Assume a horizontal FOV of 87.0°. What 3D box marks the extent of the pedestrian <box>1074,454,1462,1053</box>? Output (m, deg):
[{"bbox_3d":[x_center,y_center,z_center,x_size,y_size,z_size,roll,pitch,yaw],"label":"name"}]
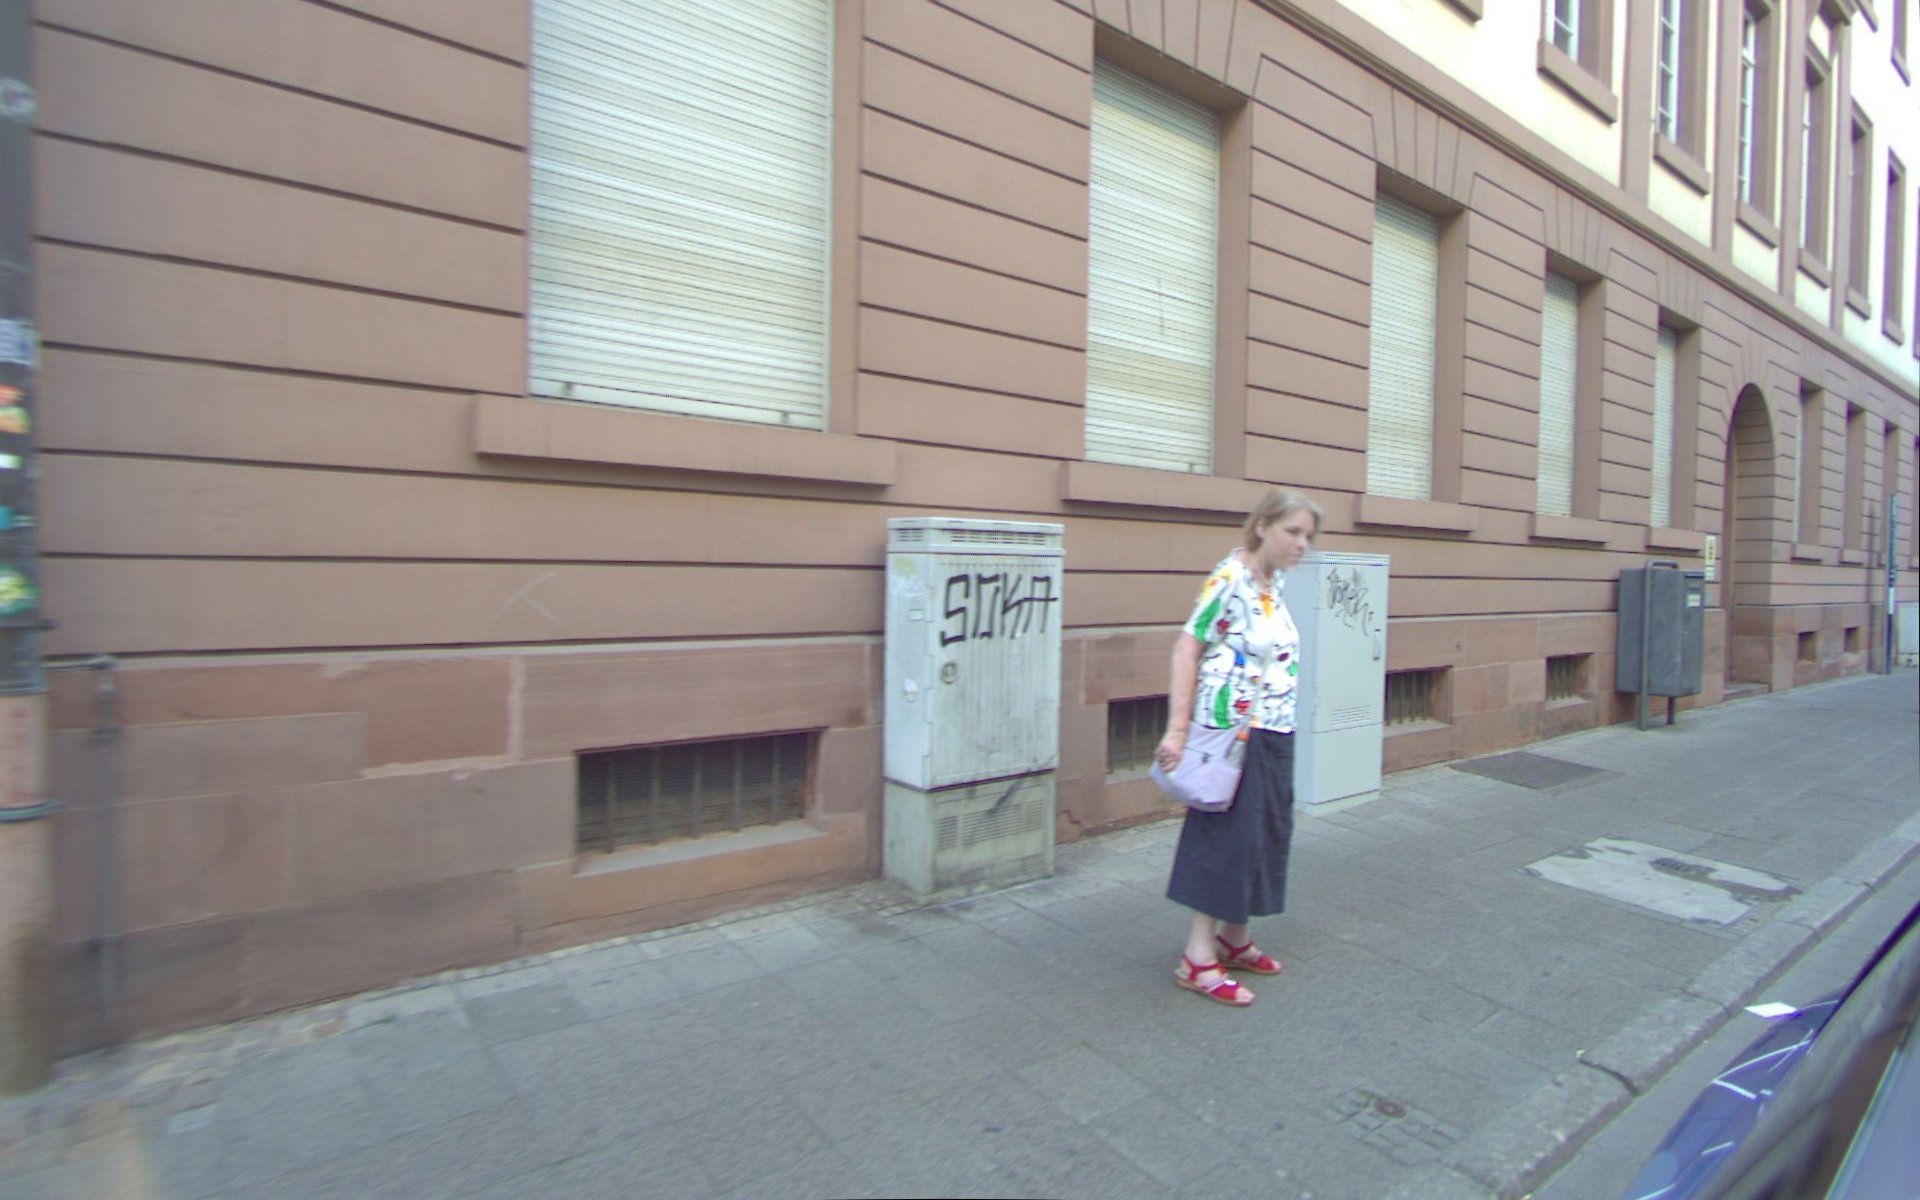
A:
[{"bbox_3d":[0.976,0.418,3.415,0.795,1.691,0.933,1,2,-20],"label":"pedestrian"}]
